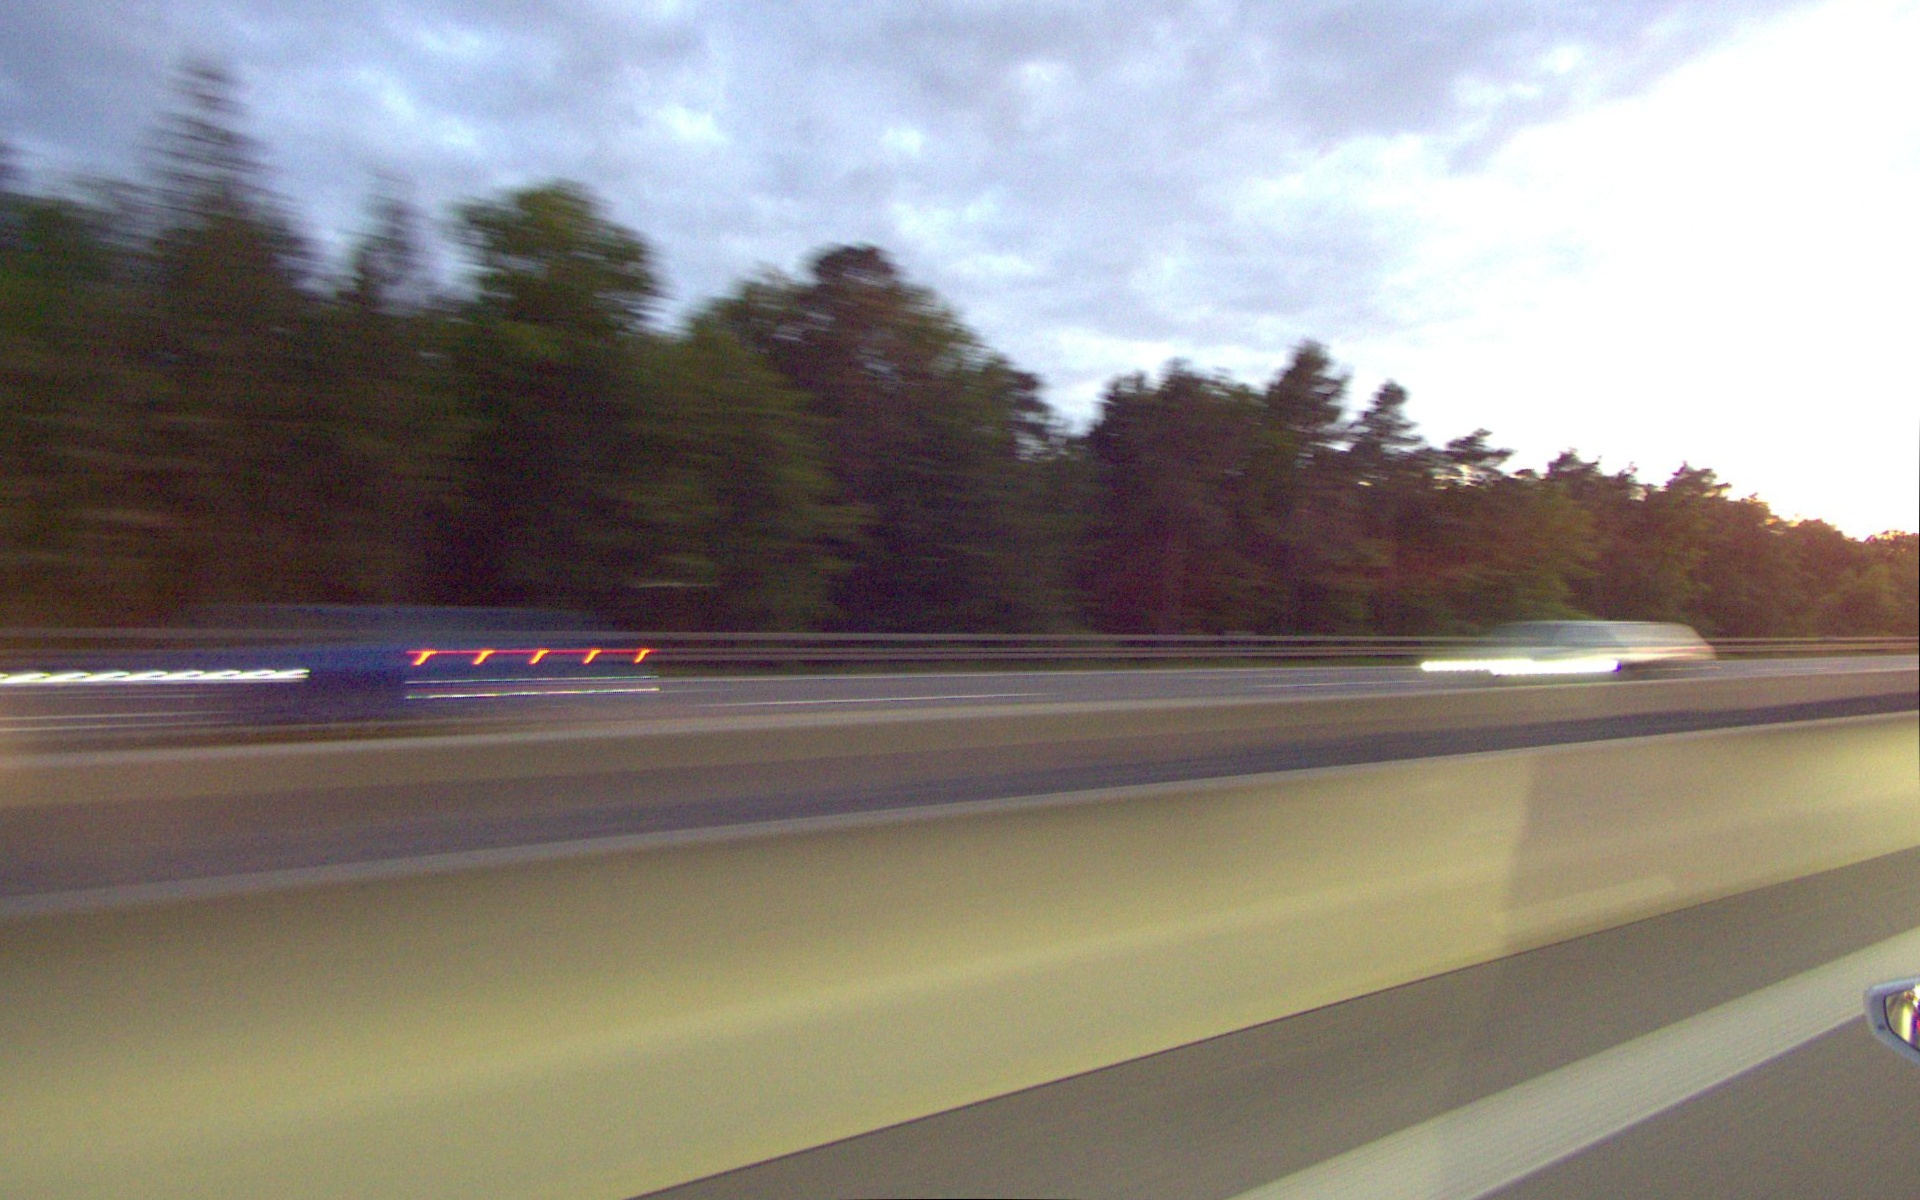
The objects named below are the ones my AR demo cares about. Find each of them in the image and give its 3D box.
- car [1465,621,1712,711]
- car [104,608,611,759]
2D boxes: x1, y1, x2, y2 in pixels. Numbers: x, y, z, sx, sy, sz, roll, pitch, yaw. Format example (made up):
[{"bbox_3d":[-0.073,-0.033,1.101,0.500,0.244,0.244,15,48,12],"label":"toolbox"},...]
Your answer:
[{"bbox_3d":[11.417,1.131,18.164,4.735,1.432,1.840,1,-1,-31],"label":"car"},{"bbox_3d":[-6.691,0.856,11.695,4.692,1.443,1.902,1,-1,-31],"label":"car"}]
